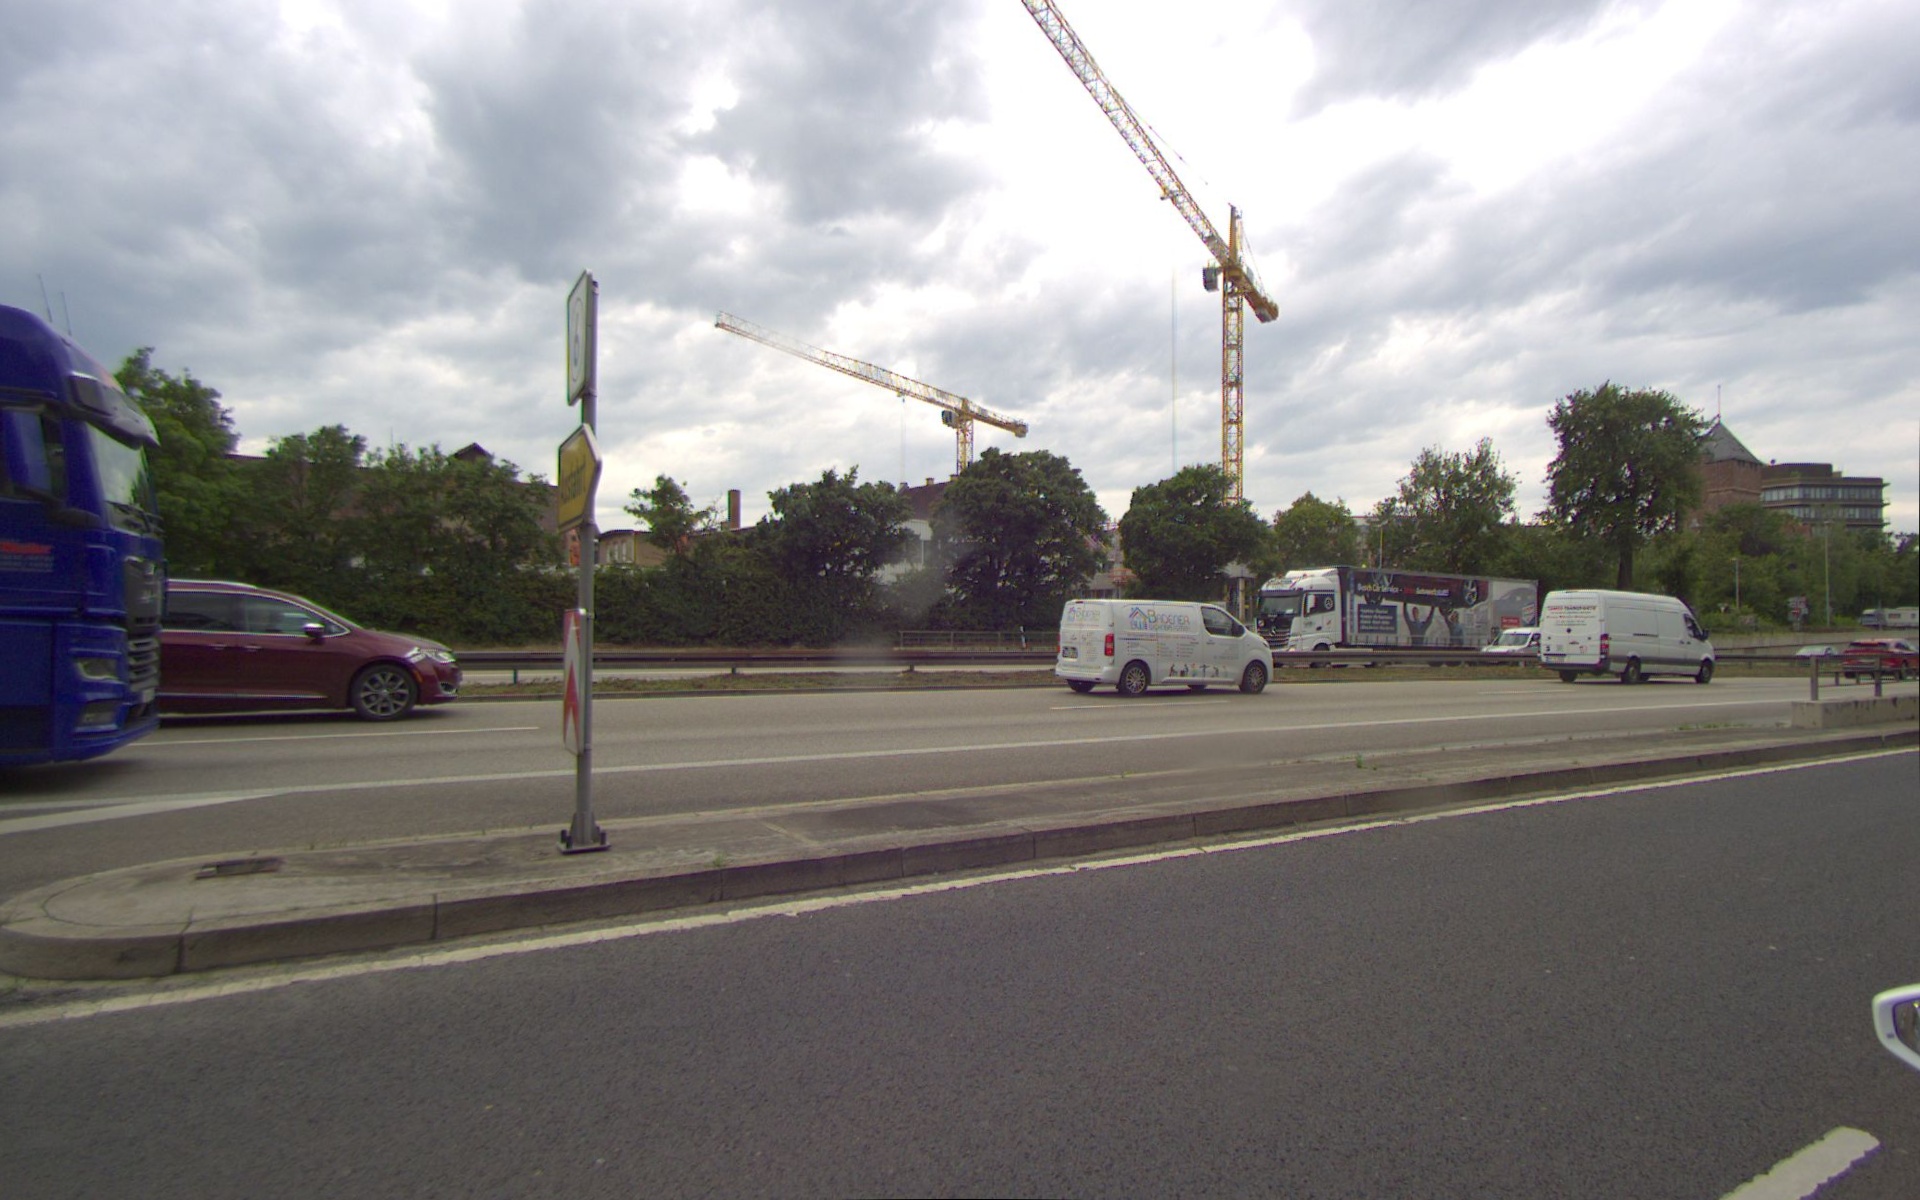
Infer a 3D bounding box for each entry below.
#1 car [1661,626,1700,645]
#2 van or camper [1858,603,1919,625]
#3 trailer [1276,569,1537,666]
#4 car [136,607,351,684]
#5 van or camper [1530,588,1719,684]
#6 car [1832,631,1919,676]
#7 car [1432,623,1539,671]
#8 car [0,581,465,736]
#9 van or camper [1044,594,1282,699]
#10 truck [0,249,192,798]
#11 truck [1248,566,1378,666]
[{"bbox_3d":[55.727,2.749,77.679,3.138,1.393,1.327,1,-1,-32],"label":"car"},{"bbox_3d":[120.385,1.793,130.194,5.548,2.672,1.922,2,0,13],"label":"van or camper"},{"bbox_3d":[20.004,0.844,44.240,14.555,3.807,2.578,1,-1,-31],"label":"trailer"},{"bbox_3d":[-15.205,0.953,21.563,3.584,1.510,1.589,1,-1,-31],"label":"car"},{"bbox_3d":[20.086,1.072,30.228,6.877,2.656,2.039,1,-1,-31],"label":"van or camper"},{"bbox_3d":[37.316,2.115,40.676,4.258,1.703,1.880,1,-1,-32],"label":"car"},{"bbox_3d":[20.738,1.826,39.651,3.953,1.789,1.984,1,-1,-30],"label":"car"},{"bbox_3d":[-9.179,0.693,12.808,5.025,1.700,1.776,1,-1,-31],"label":"car"},{"bbox_3d":[4.239,0.931,20.749,4.794,1.945,1.911,1,-1,-30],"label":"van or camper"},{"bbox_3d":[-9.559,-0.597,7.369,5.859,4.014,2.655,1,-1,-31],"label":"truck"},{"bbox_3d":[14.375,0.692,40.896,4.722,3.818,2.580,1,-1,-31],"label":"truck"}]
